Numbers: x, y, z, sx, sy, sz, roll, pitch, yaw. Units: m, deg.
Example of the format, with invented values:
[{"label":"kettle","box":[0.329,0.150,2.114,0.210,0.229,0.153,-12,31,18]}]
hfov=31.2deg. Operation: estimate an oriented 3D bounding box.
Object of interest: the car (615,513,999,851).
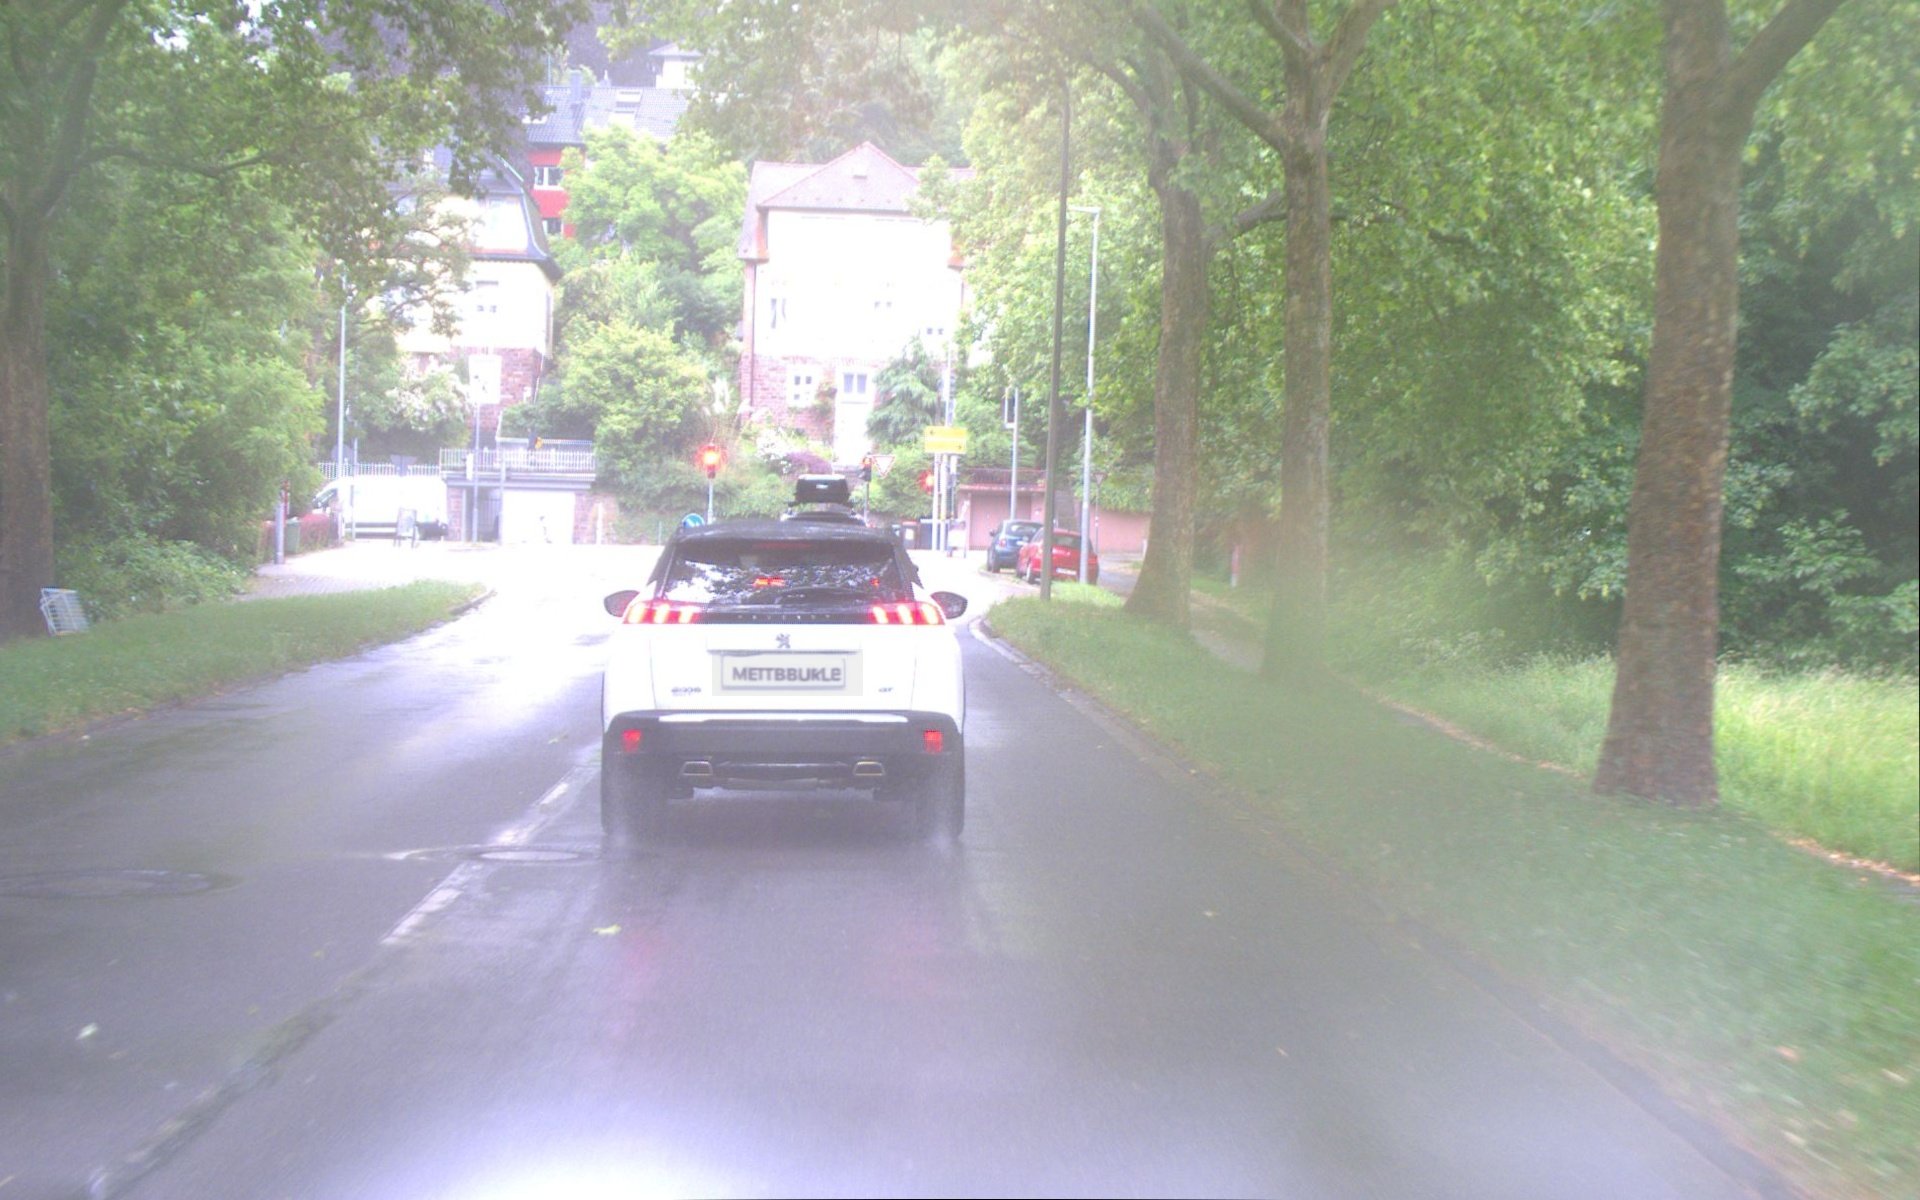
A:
[{"label":"car","box":[-0.818,0.328,18.067,1.752,1.530,4.368,1,2,-3]}]

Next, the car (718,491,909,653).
[{"label":"car","box":[-1.569,-0.352,37.169,1.831,1.451,4.659,4,2,-2]}]

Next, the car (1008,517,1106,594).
[{"label":"car","box":[2.420,-1.141,86.441,1.819,1.512,3.744,9,3,-6]}]

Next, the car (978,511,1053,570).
[{"label":"car","box":[1.548,-1.669,96.211,1.749,1.486,3.600,4,1,-3]}]

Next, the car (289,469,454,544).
[{"label":"car","box":[-21.845,-3.453,127.783,5.660,2.485,2.316,2,0,-1]}]

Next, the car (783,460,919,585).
[{"label":"car","box":[-1.690,-1.213,51.871,1.760,1.705,4.602,3,2,-4]}]
